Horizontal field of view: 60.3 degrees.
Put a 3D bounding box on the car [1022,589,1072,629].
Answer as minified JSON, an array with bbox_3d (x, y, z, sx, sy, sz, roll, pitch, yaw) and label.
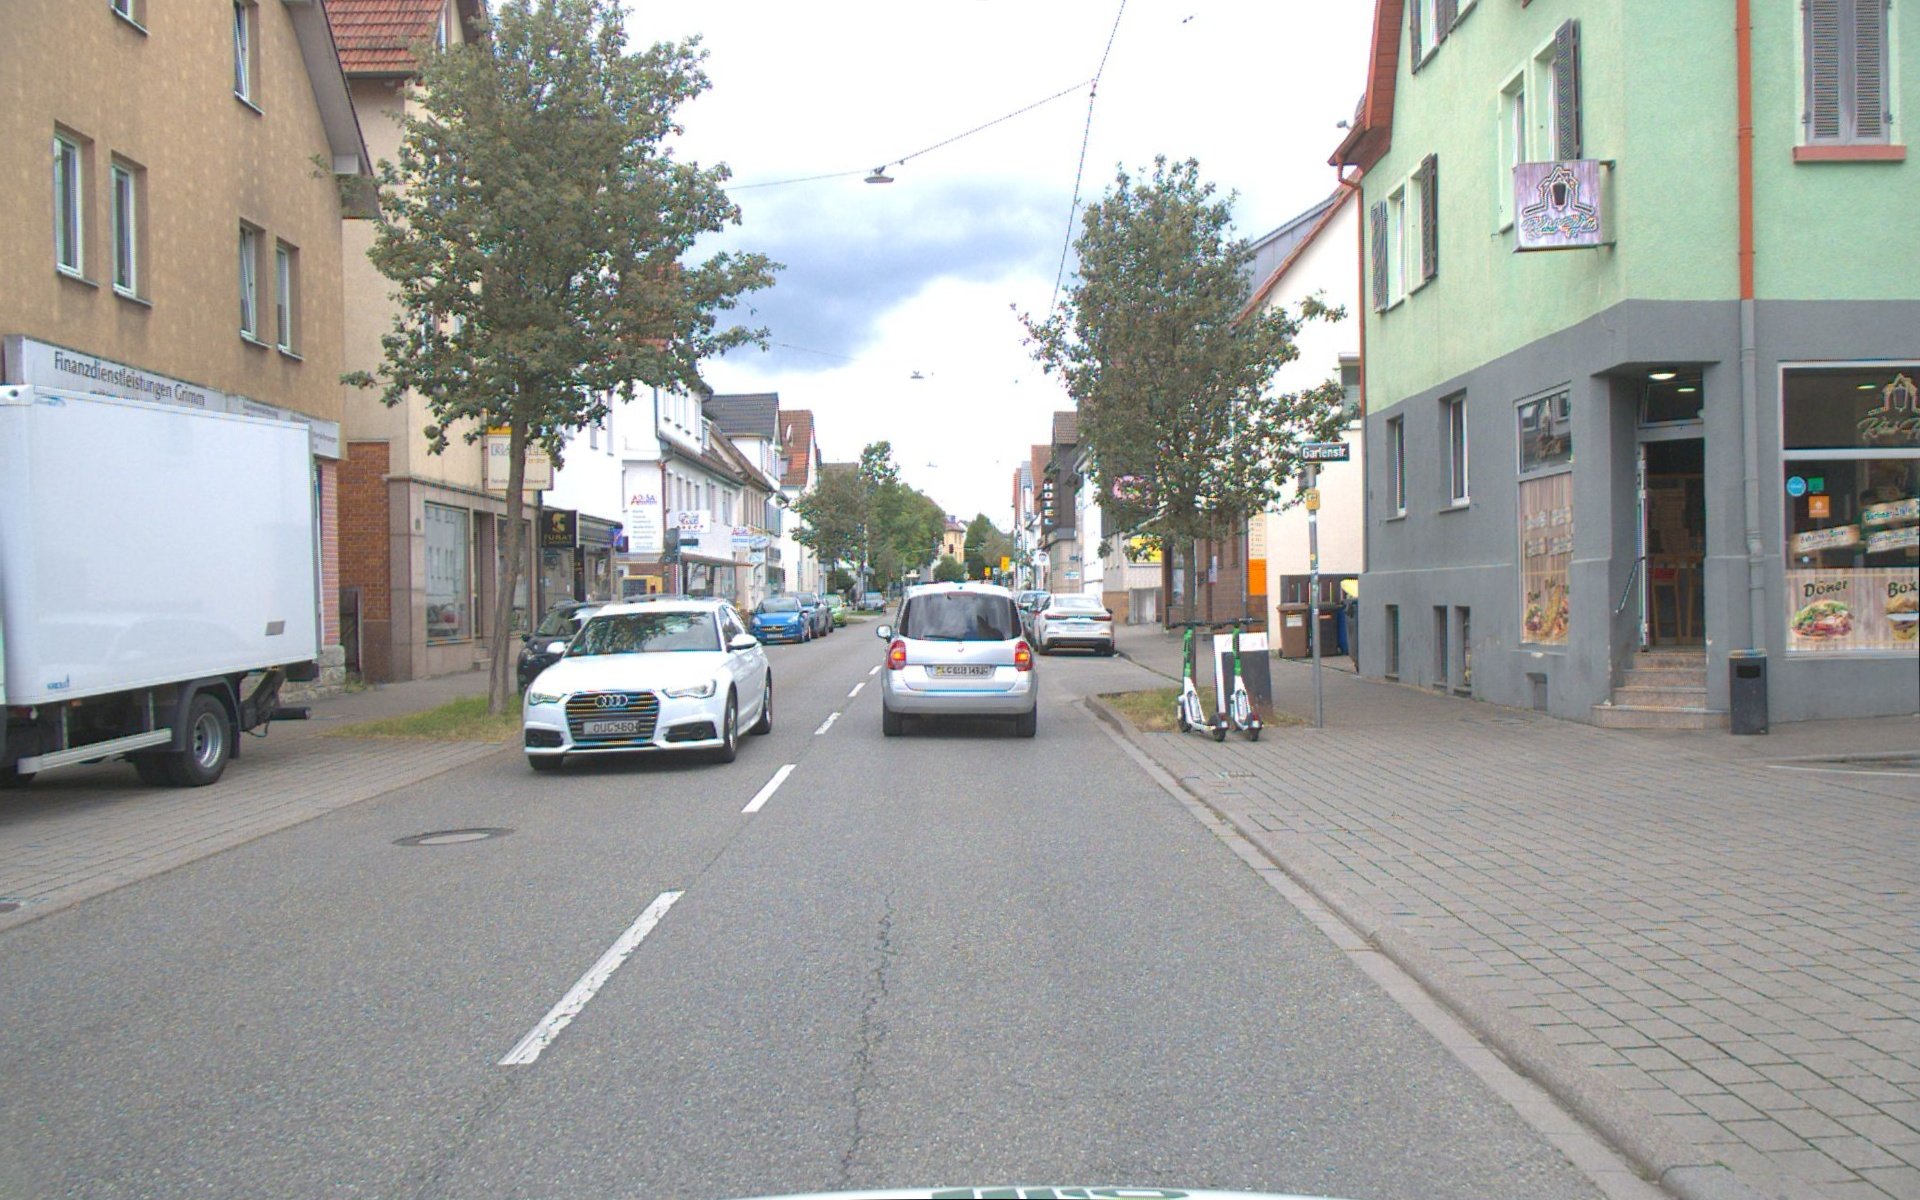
[{"bbox_3d":[3.383,0.345,64.867,1.793,1.524,3.993,1,0,1],"label":"car"}]

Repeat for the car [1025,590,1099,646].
[{"bbox_3d":[2.764,0.469,45.581,1.793,1.471,4.110,1,0,1],"label":"car"}]

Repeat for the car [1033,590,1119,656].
[{"bbox_3d":[2.735,0.520,39.815,1.793,1.471,4.332,1,0,1],"label":"car"}]

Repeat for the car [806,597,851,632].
[{"bbox_3d":[-5.934,0.633,75.117,1.648,1.473,4.020,-2,0,1],"label":"car"}]

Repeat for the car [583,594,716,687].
[{"bbox_3d":[-5.842,0.716,31.564,1.675,1.593,4.114,-2,0,1],"label":"car"}]

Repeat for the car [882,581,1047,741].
[{"bbox_3d":[0.068,0.611,18.652,1.648,1.593,3.993,1,0,1],"label":"car"}]

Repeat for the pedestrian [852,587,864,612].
[{"bbox_3d":[-7.426,-0.035,120.461,0.747,1.822,0.890,0,0,0],"label":"pedestrian"}]

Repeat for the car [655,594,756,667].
[{"bbox_3d":[-5.723,0.649,37.553,1.648,1.519,3.591,-2,0,1],"label":"car"}]

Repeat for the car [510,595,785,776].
[{"bbox_3d":[-2.878,0.718,16.224,1.805,1.458,4.543,-2,0,0],"label":"car"}]

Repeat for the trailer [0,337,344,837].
[{"bbox_3d":[-7.401,-0.090,12.291,2.450,3.275,7.139,0,0,5],"label":"trailer"}]

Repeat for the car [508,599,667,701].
[{"bbox_3d":[-5.876,0.738,26.515,1.648,1.449,3.930,-2,0,-1],"label":"car"}]

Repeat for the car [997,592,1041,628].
[{"bbox_3d":[2.448,0.405,69.573,1.719,1.471,4.455,1,0,1],"label":"car"}]

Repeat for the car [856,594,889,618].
[{"bbox_3d":[-5.792,0.384,109.910,1.908,1.493,4.516,-3,0,0],"label":"car"}]

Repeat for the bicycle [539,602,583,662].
[{"bbox_3d":[-8.571,0.666,35.548,0.491,1.257,1.942,0,0,-1],"label":"bicycle"}]

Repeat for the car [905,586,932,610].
[{"bbox_3d":[-3.129,-0.145,126.397,1.861,1.768,4.366,-2,0,1],"label":"car"}]

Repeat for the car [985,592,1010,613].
[{"bbox_3d":[2.637,0.190,117.712,1.666,1.493,4.238,0,0,-1],"label":"car"}]

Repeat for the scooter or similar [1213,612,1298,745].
[{"bbox_3d":[2.983,0.757,16.845,0.491,1.257,1.942,0,0,-1],"label":"scooter or similar"}]

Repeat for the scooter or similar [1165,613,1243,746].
[{"bbox_3d":[2.460,0.771,16.832,0.491,1.257,1.942,0,0,-1],"label":"scooter or similar"}]

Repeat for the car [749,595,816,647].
[{"bbox_3d":[-5.673,0.647,53.170,1.648,1.525,3.775,-2,0,1],"label":"car"}]

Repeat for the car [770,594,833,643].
[{"bbox_3d":[-5.629,0.646,59.199,1.766,1.627,4.304,-2,0,1],"label":"car"}]
